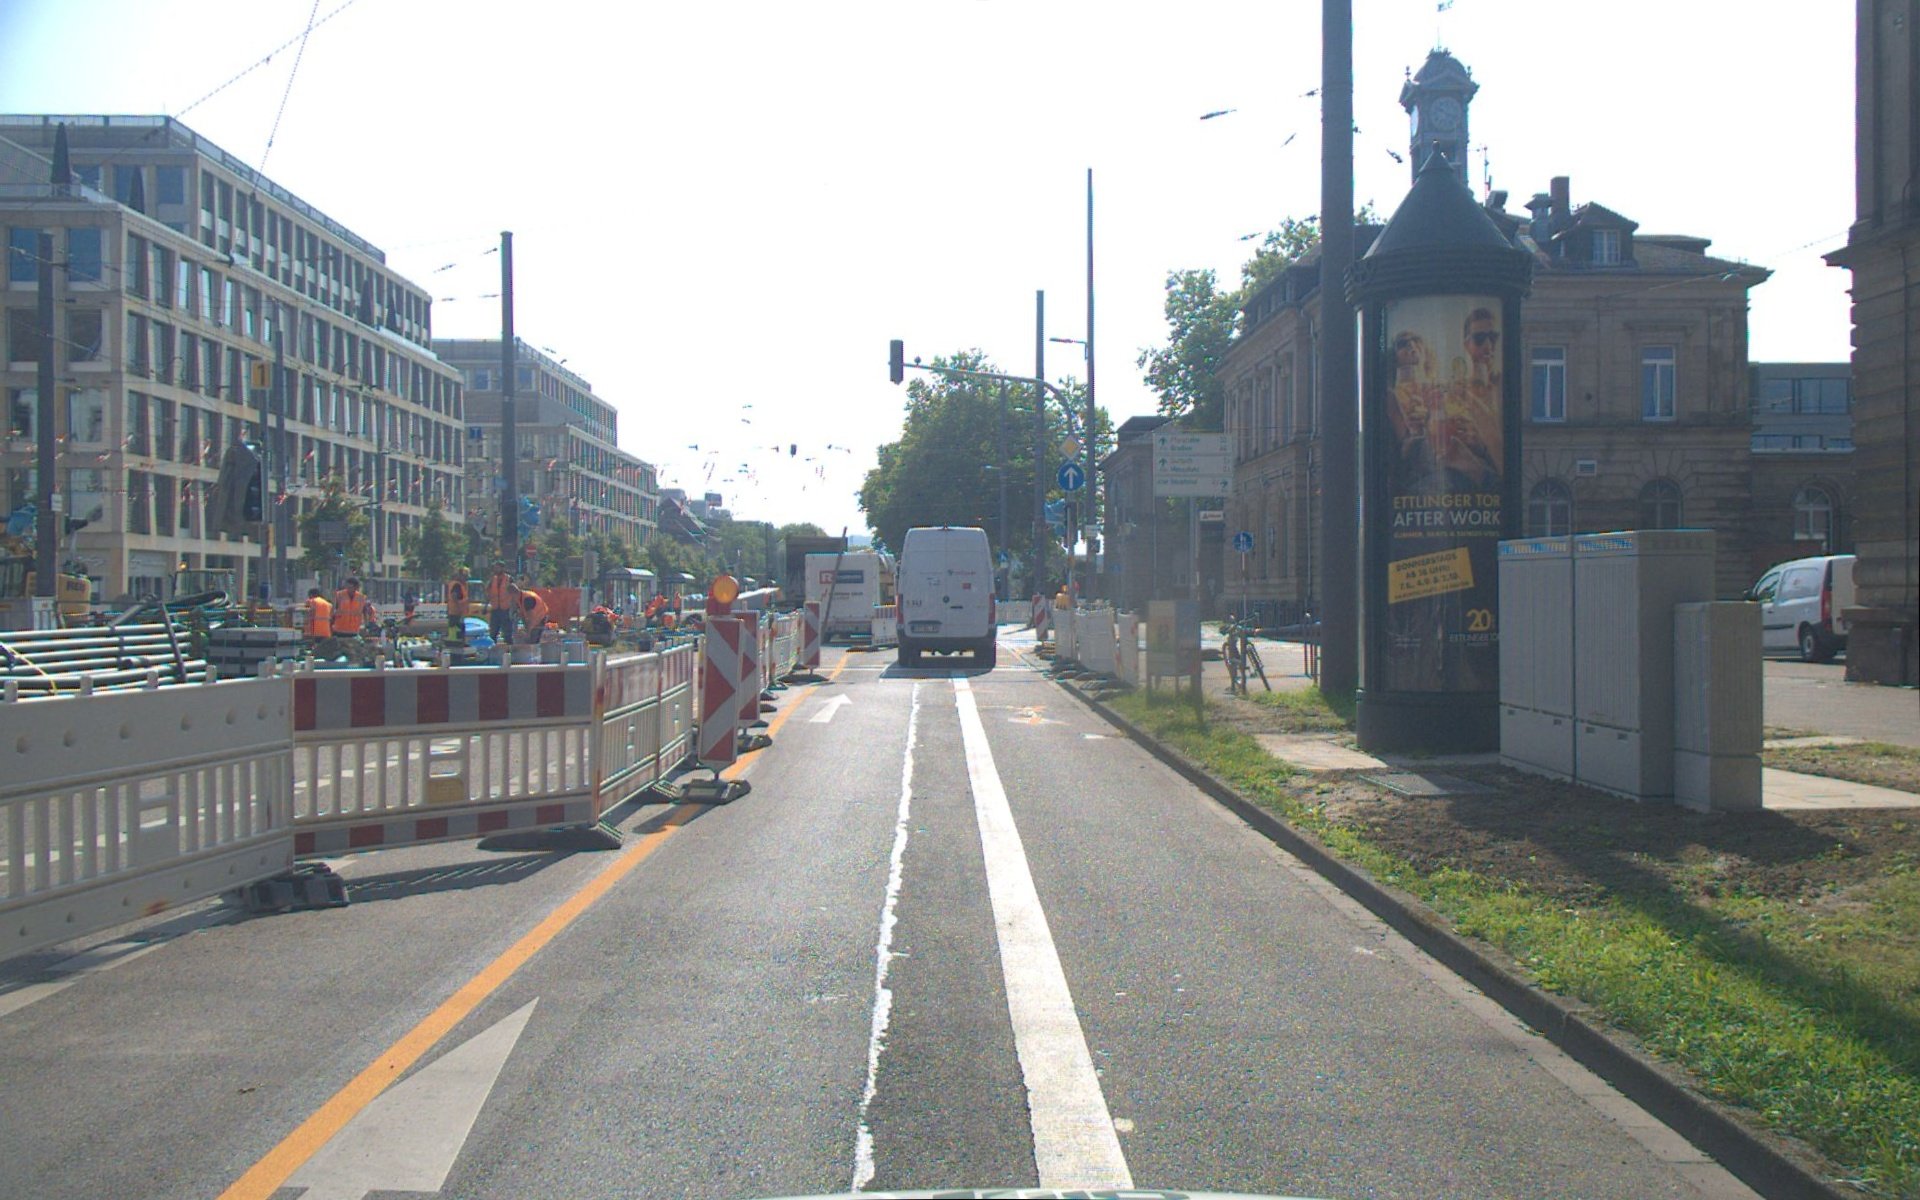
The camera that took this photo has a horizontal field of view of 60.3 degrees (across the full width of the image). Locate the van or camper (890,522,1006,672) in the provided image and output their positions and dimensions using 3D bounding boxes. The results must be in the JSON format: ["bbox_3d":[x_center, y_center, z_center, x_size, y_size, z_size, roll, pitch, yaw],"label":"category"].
[{"bbox_3d":[-0.294,-0.090,33.805,2.073,2.728,5.249,-3,1,-2],"label":"van or camper"}]

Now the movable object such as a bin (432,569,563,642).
[{"bbox_3d":[-20.431,0.281,73.679,3.540,3.010,8.473,1,-1,-1],"label":"movable object such as a bin"}]

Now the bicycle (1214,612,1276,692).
[{"bbox_3d":[3.861,0.693,22.509,0.527,1.024,1.571,-2,0,-1],"label":"bicycle"}]

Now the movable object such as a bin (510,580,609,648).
[{"bbox_3d":[-9.683,0.330,40.199,1.567,1.586,3.286,-1,0,0],"label":"movable object such as a bin"}]

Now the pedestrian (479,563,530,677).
[{"bbox_3d":[-8.319,0.352,30.200,0.690,2.050,0.665,-1,-1,-38],"label":"pedestrian"}]

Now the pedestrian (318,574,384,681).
[{"bbox_3d":[-10.670,0.468,28.974,0.741,1.841,0.825,-1,-1,44],"label":"pedestrian"}]

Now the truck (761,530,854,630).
[{"bbox_3d":[-6.634,-0.839,70.860,2.744,3.981,8.389,1,0,-13],"label":"truck"}]

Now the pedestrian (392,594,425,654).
[{"bbox_3d":[-18.315,0.797,54.934,0.769,1.946,0.723,-1,-1,7],"label":"pedestrian"}]

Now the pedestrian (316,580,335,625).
[{"bbox_3d":[-26.876,0.101,70.051,0.743,1.897,0.804,0,0,-23],"label":"pedestrian"}]

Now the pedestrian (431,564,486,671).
[{"bbox_3d":[-9.110,0.317,30.085,0.704,1.903,0.708,-1,0,7],"label":"pedestrian"}]

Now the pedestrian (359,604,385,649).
[{"bbox_3d":[-24.778,1.104,69.725,0.907,1.897,0.808,0,0,-12],"label":"pedestrian"}]

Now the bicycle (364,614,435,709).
[{"bbox_3d":[-6.947,0.746,20.564,0.552,1.118,1.962,1,-1,-11],"label":"bicycle"}]

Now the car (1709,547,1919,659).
[{"bbox_3d":[15.378,0.048,29.675,1.865,1.814,4.224,-2,0,-1],"label":"car"}]

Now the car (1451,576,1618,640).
[{"bbox_3d":[15.414,0.217,44.505,3.915,1.563,1.666,-2,0,4],"label":"car"}]

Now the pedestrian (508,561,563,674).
[{"bbox_3d":[-7.515,0.306,29.260,0.707,1.960,0.675,-1,-1,-38],"label":"pedestrian"}]

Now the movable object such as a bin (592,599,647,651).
[{"bbox_3d":[-8.340,0.602,40.620,0.868,1.232,2.212,-1,0,0],"label":"movable object such as a bin"}]

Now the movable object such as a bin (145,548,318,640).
[{"bbox_3d":[-23.932,-0.189,54.414,4.769,2.884,2.415,0,0,-39],"label":"movable object such as a bin"}]

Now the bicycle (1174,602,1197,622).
[{"bbox_3d":[12.291,0.656,90.225,0.484,1.017,1.807,-1,2,-20],"label":"bicycle"}]

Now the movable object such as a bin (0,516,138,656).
[{"bbox_3d":[-32.459,-0.342,55.477,7.200,4.423,4.973,-1,-1,12],"label":"movable object such as a bin"}]

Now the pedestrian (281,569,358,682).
[{"bbox_3d":[-10.664,0.420,27.565,0.810,1.848,0.885,-1,0,13],"label":"pedestrian"}]

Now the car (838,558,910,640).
[{"bbox_3d":[-2.743,-0.001,53.917,2.163,2.467,7.196,-1,0,-2],"label":"car"}]
